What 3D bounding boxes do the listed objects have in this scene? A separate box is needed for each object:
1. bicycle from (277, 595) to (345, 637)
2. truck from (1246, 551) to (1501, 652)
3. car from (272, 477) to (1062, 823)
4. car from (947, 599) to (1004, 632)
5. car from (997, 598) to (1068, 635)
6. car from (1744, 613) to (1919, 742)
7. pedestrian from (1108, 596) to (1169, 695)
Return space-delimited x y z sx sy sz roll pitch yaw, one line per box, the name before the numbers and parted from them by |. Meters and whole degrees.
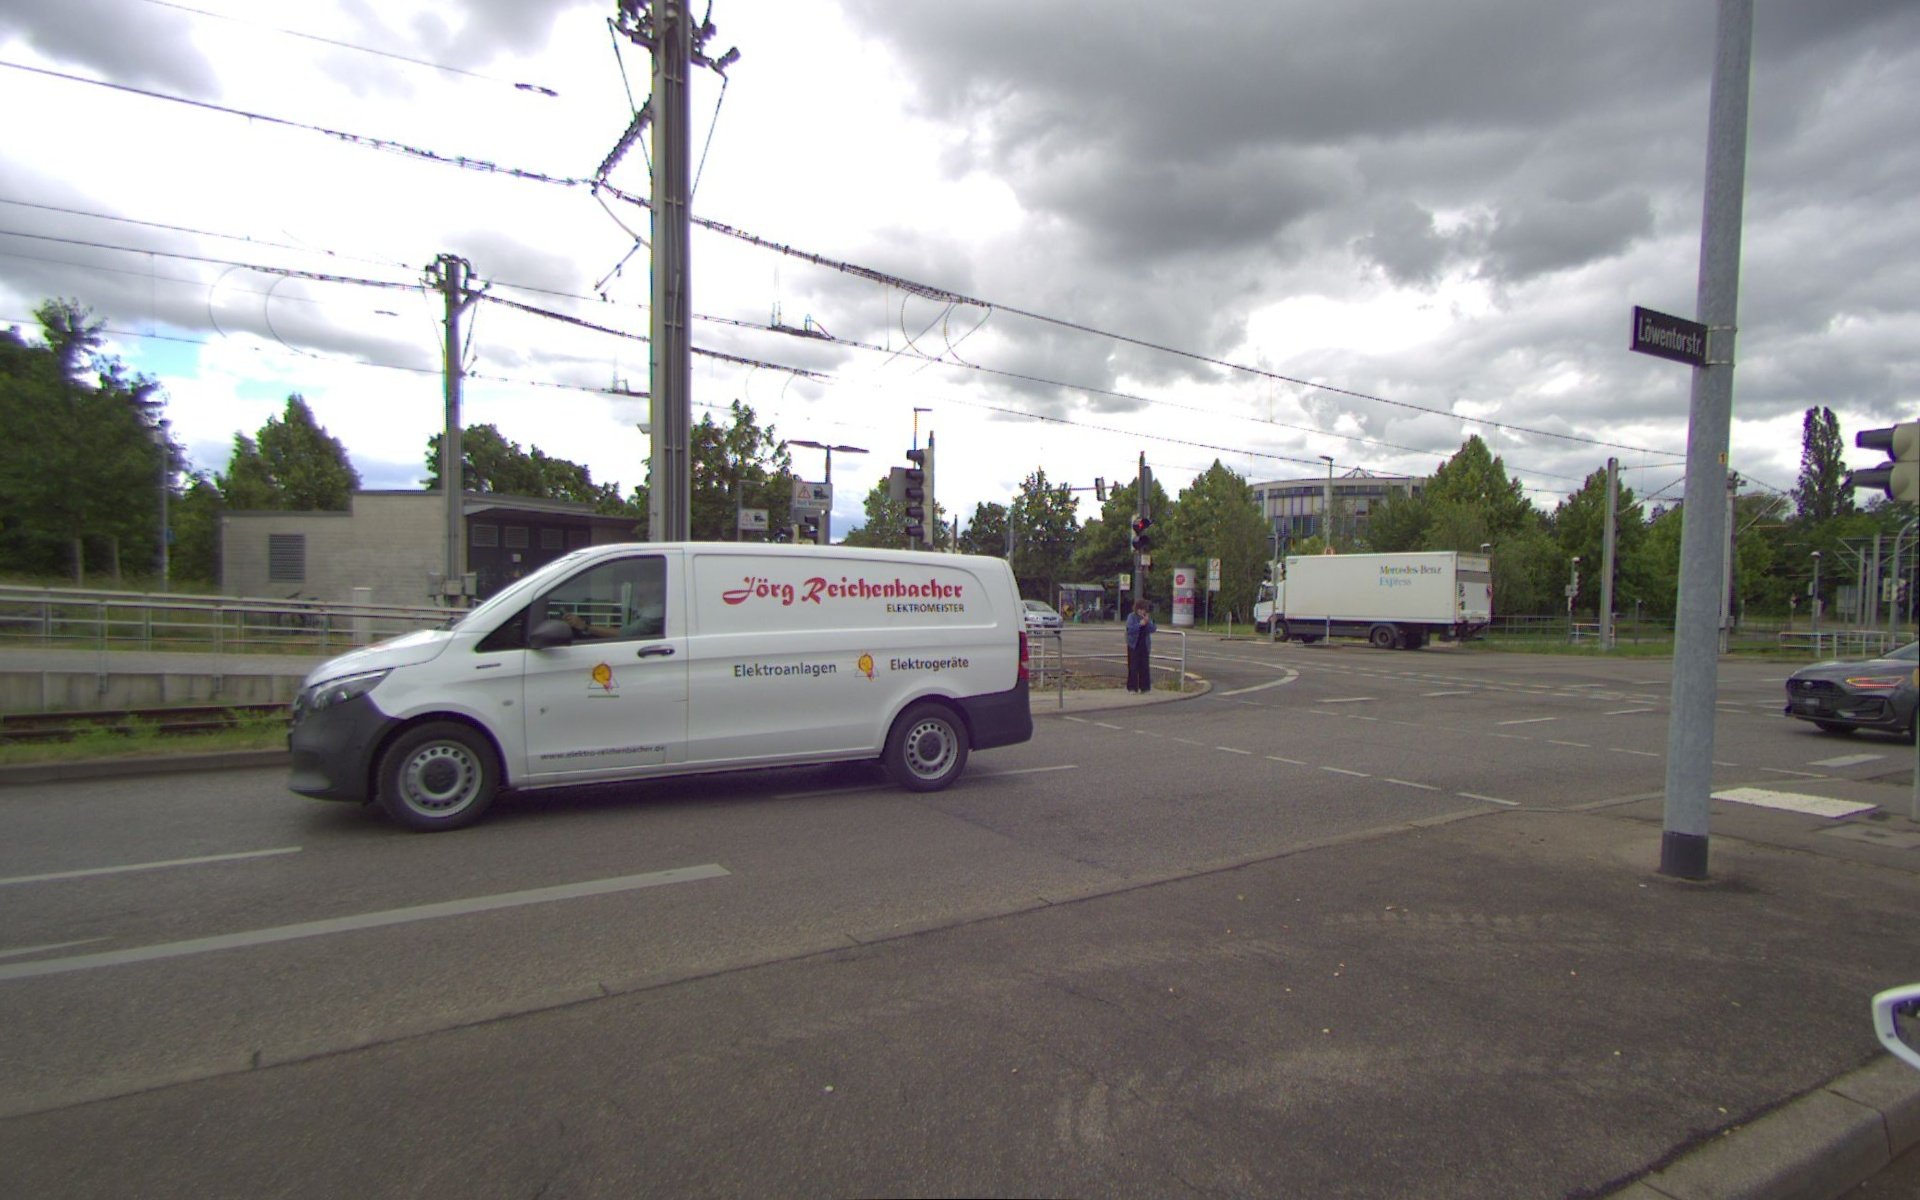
bicycle | -17.259 0.415 26.712 1.778 1.045 0.536 2 0 21
truck | 16.164 0.022 40.141 2.988 3.580 9.187 1 0 -36
car | -1.976 0.359 7.830 5.304 1.990 1.908 2 0 -27
car | 0.793 0.799 53.938 1.776 1.617 3.982 2 0 -20
car | 3.325 0.737 46.972 1.848 1.617 3.982 2 0 -20
car | 12.594 0.958 12.283 4.342 1.443 1.878 2 0 8
pedestrian | 2.891 0.726 16.275 0.712 1.557 0.630 2 0 -33
